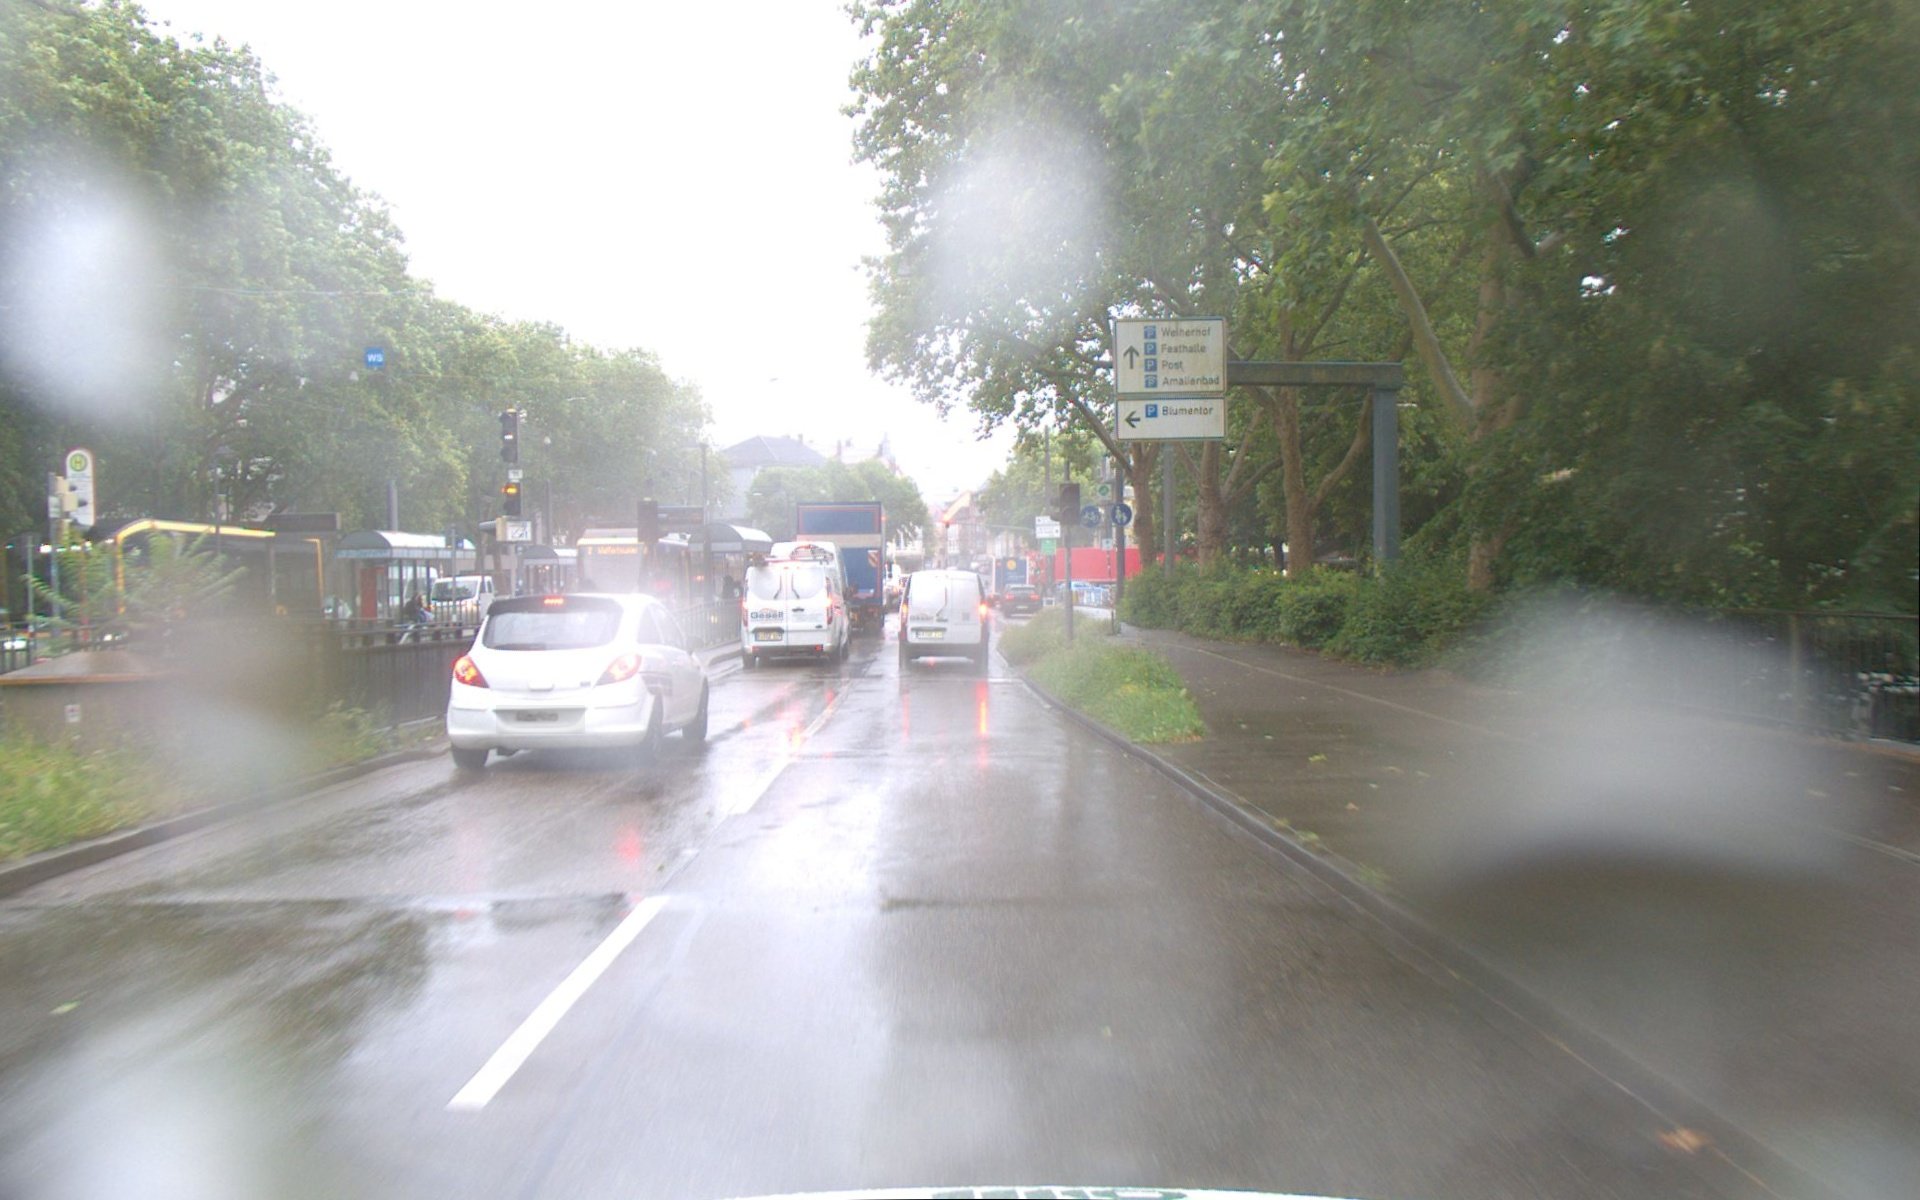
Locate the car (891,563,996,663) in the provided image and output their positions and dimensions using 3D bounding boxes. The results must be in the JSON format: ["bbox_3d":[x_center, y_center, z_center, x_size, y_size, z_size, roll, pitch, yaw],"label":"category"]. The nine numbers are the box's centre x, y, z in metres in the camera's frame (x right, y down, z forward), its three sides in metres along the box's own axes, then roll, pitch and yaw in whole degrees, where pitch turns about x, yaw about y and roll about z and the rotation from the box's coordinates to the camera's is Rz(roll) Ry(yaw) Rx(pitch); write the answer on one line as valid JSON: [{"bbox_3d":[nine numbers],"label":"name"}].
[{"bbox_3d":[-0.322,0.238,32.388,1.919,1.808,3.569,-1,0,-1],"label":"car"}]

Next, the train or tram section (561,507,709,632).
[{"bbox_3d":[-9.686,-0.991,50.300,2.902,3.342,8.359,-3,2,-1],"label":"train or tram section"}]

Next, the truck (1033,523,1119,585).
[{"bbox_3d":[10.159,-3.991,144.190,7.004,4.984,3.292,-3,2,10],"label":"truck"}]

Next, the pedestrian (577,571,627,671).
[{"bbox_3d":[-6.512,0.375,30.107,0.701,1.775,0.750,-1,0,-1],"label":"pedestrian"}]

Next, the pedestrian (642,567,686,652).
[{"bbox_3d":[-6.201,0.202,34.698,0.774,1.744,0.770,0,-1,-2],"label":"pedestrian"}]

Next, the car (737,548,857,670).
[{"bbox_3d":[-3.275,0.162,34.132,1.953,2.301,5.288,-1,0,0],"label":"car"}]

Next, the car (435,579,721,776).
[{"bbox_3d":[-3.246,0.599,14.778,1.690,1.504,3.805,-1,0,-1],"label":"car"}]

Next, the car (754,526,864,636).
[{"bbox_3d":[-3.778,-0.469,42.602,2.282,2.602,6.113,-1,0,0],"label":"car"}]

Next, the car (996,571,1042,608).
[{"bbox_3d":[2.701,-0.483,74.999,1.952,1.568,4.002,-2,1,3],"label":"car"}]

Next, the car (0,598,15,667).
[{"bbox_3d":[-22.423,0.803,35.473,1.953,1.544,4.000,-3,1,0],"label":"car"}]

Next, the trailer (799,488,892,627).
[{"bbox_3d":[-3.475,-1.316,51.758,2.538,3.967,7.634,-1,1,-2],"label":"trailer"}]

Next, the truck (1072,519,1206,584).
[{"bbox_3d":[15.512,-4.236,143.228,11.121,4.984,3.292,-3,2,10],"label":"truck"}]

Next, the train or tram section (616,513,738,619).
[{"bbox_3d":[-9.900,-1.269,58.696,2.919,3.342,8.430,-3,2,-1],"label":"train or tram section"}]

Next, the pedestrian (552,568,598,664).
[{"bbox_3d":[-7.291,0.294,31.343,0.664,1.768,0.807,-1,0,-1],"label":"pedestrian"}]

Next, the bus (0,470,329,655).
[{"bbox_3d":[-19.383,-0.861,41.151,2.968,3.905,12.242,0,1,-2],"label":"bus"}]

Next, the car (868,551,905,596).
[{"bbox_3d":[-4.172,-1.509,94.414,1.953,2.484,4.611,0,1,-1],"label":"car"}]

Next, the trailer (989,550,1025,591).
[{"bbox_3d":[2.771,-1.725,98.763,1.953,2.357,4.668,-1,0,-1],"label":"trailer"}]
